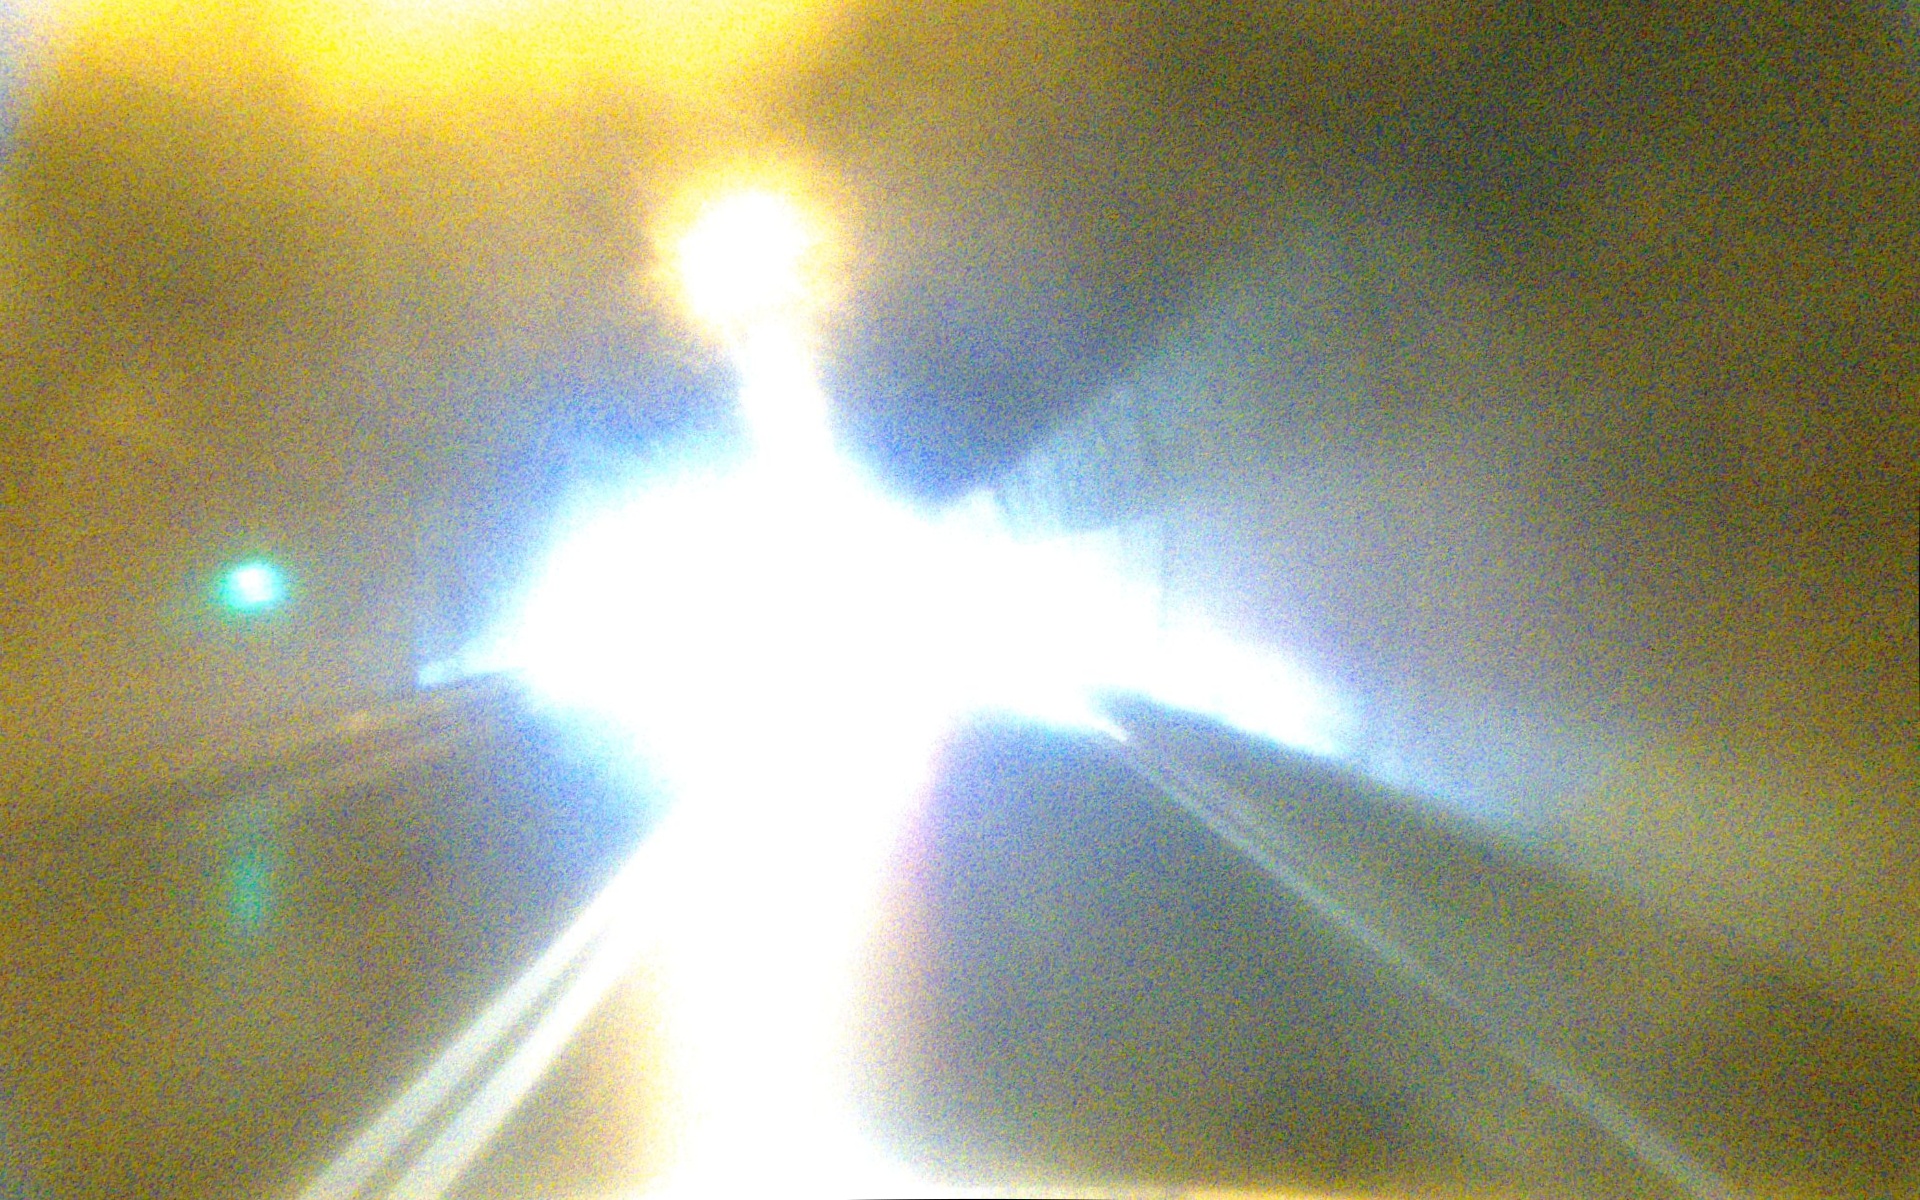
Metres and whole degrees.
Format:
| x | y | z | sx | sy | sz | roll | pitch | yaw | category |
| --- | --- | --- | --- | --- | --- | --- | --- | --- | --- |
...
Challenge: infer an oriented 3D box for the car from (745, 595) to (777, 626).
| x | y | z | sx | sy | sz | roll | pitch | yaw | category |
| --- | --- | --- | --- | --- | --- | --- | --- | --- | --- |
| -10.400 | 0.548 | 86.279 | 1.590 | 1.544 | 4.131 | 2 | 0 | -7 | car |

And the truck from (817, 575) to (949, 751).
| x | y | z | sx | sy | sz | roll | pitch | yaw | category |
| --- | --- | --- | --- | --- | --- | --- | --- | --- | --- |
| -1.637 | 1.143 | 33.645 | 2.218 | 3.063 | 7.409 | 3 | 0 | -4 | truck |
